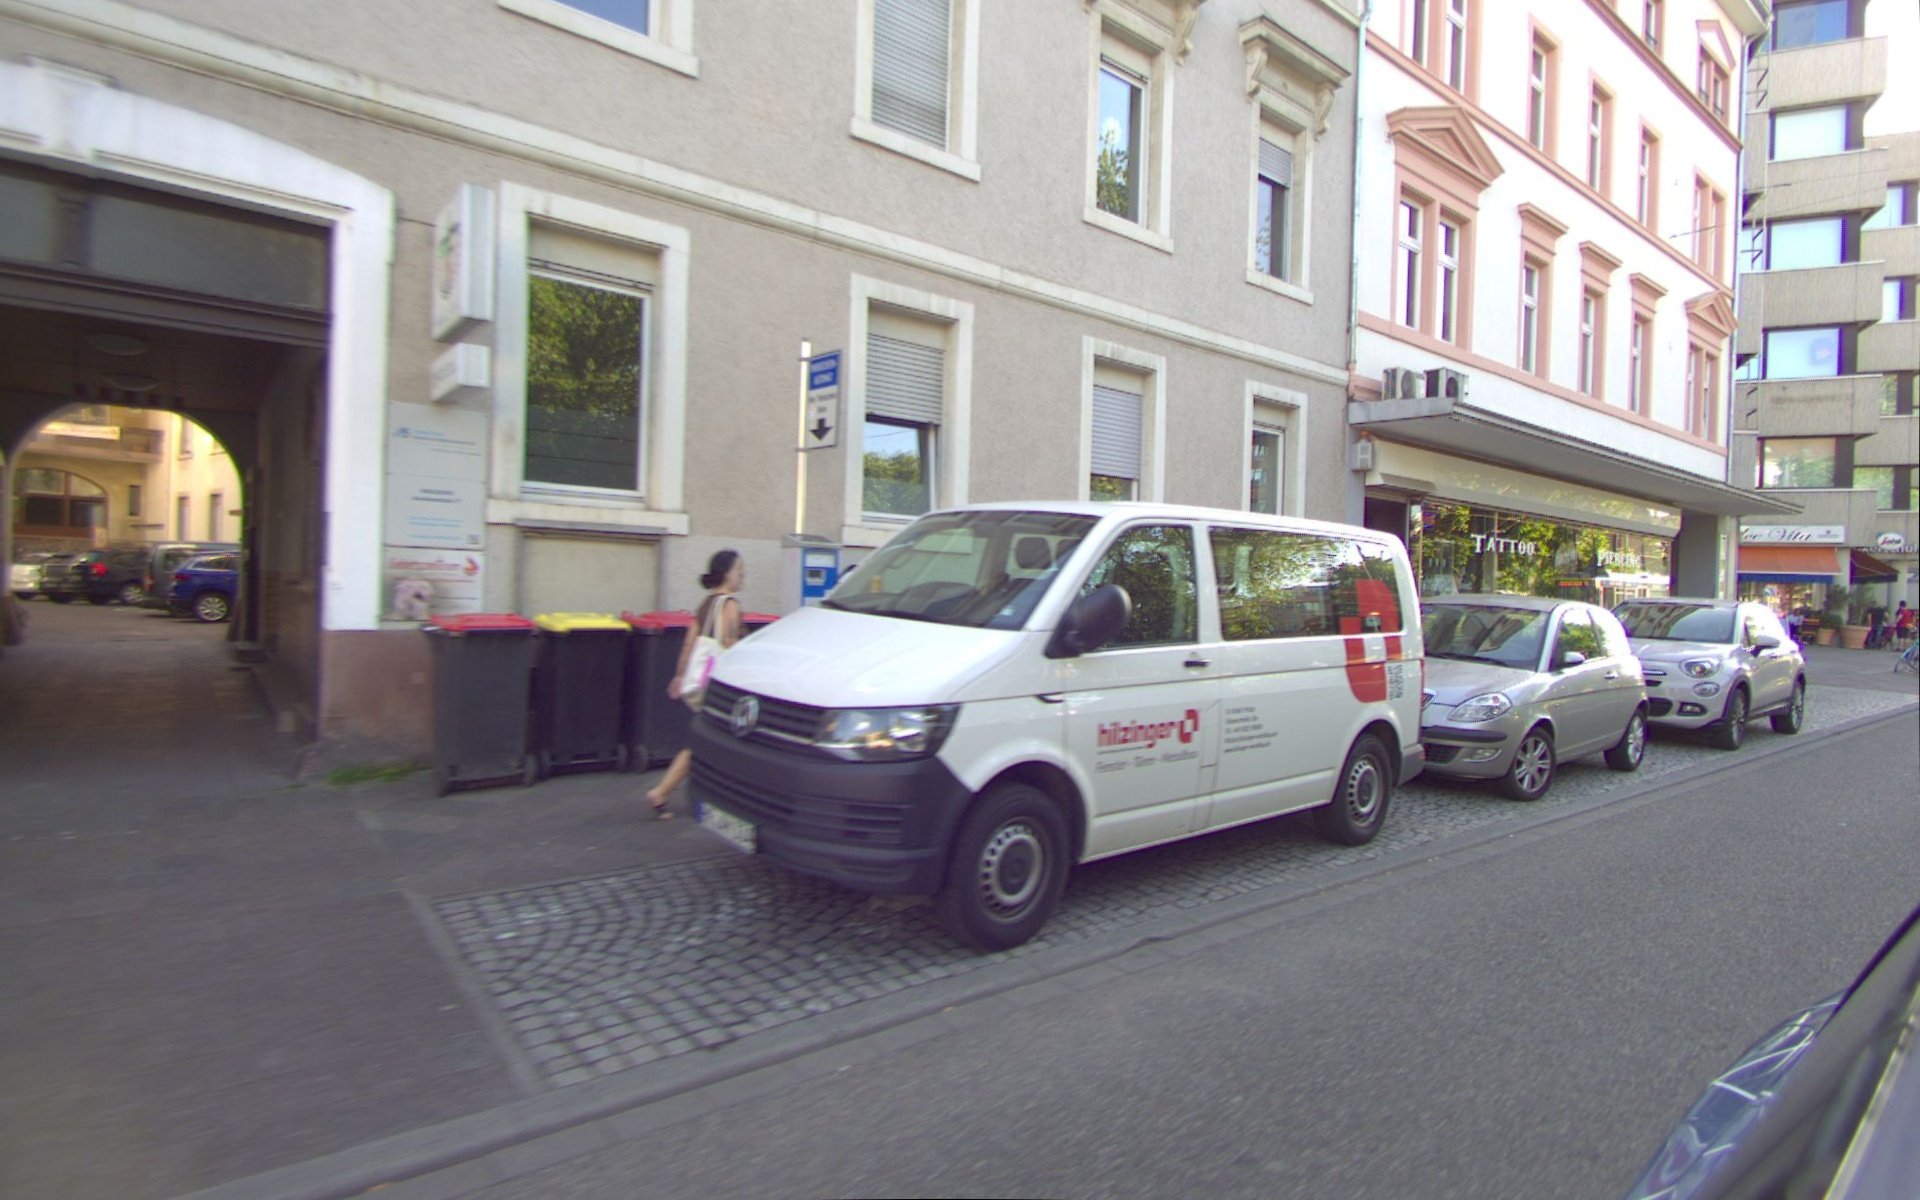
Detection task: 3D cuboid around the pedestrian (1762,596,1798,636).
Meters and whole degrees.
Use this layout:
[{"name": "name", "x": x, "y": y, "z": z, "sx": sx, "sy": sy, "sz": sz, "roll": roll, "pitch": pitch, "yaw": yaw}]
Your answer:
[{"name": "pedestrian", "x": 29.725, "y": 0.589, "z": 36.709, "sx": 0.836, "sy": 1.420, "sz": 0.823, "roll": 1, "pitch": -1, "yaw": 27}]

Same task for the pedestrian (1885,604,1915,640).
[{"name": "pedestrian", "x": 33.721, "y": 0.779, "z": 36.293, "sx": 0.613, "sy": 1.251, "sz": 0.632, "roll": 0, "pitch": 3, "yaw": -35}]

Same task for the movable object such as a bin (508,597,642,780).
[{"name": "movable object such as a bin", "x": -2.617, "y": 0.559, "z": 6.858, "sx": 0.648, "sy": 1.089, "sz": 0.797, "roll": 0, "pitch": 4, "yaw": -36}]

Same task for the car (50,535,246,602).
[{"name": "car", "x": -22.685, "y": -0.831, "z": 28.389, "sx": 1.988, "sy": 1.716, "sz": 3.947, "roll": 0, "pitch": 0, "yaw": 37}]

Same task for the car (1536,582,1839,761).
[{"name": "car", "x": 8.888, "y": 0.677, "z": 12.186, "sx": 4.871, "sy": 1.760, "sz": 1.749, "roll": -1, "pitch": 0, "yaw": -39}]

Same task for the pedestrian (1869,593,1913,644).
[{"name": "pedestrian", "x": 32.390, "y": 0.634, "z": 35.218, "sx": 0.835, "sy": 1.731, "sz": 0.714, "roll": 3, "pitch": 2, "yaw": 24}]

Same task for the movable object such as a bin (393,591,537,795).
[{"name": "movable object such as a bin", "x": -3.123, "y": 0.533, "z": 6.363, "sx": 0.686, "sy": 1.151, "sz": 0.841, "roll": 0, "pitch": 2, "yaw": -36}]

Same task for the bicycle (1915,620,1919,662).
[{"name": "bicycle", "x": 25.076, "y": 1.053, "z": 25.336, "sx": 0.336, "sy": 1.075, "sz": 1.688, "roll": 0, "pitch": 0, "yaw": -22}]

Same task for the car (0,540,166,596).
[{"name": "car", "x": -28.682, "y": -0.990, "z": 32.995, "sx": 1.981, "sy": 1.716, "sz": 3.962, "roll": 0, "pitch": 0, "yaw": 27}]

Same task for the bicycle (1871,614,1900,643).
[{"name": "bicycle", "x": 34.803, "y": 1.052, "z": 38.052, "sx": 1.614, "sy": 1.047, "sz": 0.564, "roll": 0, "pitch": 0, "yaw": -38}]

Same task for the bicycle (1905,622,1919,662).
[{"name": "bicycle", "x": 24.725, "y": 1.070, "z": 25.201, "sx": 0.419, "sy": 1.017, "sz": 1.712, "roll": 0, "pitch": 0, "yaw": -22}]

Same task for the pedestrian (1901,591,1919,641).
[{"name": "pedestrian", "x": 33.418, "y": 0.543, "z": 35.395, "sx": 0.684, "sy": 1.736, "sz": 0.585, "roll": 0, "pitch": 0, "yaw": -36}]

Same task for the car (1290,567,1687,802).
[{"name": "car", "x": 4.704, "y": 0.551, "z": 8.831, "sx": 3.688, "sy": 1.624, "sz": 1.704, "roll": -1, "pitch": 1, "yaw": -38}]

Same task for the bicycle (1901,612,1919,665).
[{"name": "bicycle", "x": 23.672, "y": 0.933, "z": 24.182, "sx": 0.645, "sy": 1.259, "sz": 1.630, "roll": 0, "pitch": 0, "yaw": -18}]

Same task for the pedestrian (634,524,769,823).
[{"name": "pedestrian", "x": -1.558, "y": 0.393, "z": 6.047, "sx": 0.450, "sy": 1.625, "sz": 0.752, "roll": 0, "pitch": 7, "yaw": -38}]

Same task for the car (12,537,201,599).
[{"name": "car", "x": -25.221, "y": -0.892, "z": 30.025, "sx": 1.987, "sy": 1.716, "sz": 3.949, "roll": 0, "pitch": 0, "yaw": 35}]

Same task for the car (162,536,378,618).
[{"name": "car", "x": -15.863, "y": -0.507, "z": 23.352, "sx": 3.930, "sy": 1.716, "sz": 1.997, "roll": -1, "pitch": 0, "yaw": -41}]

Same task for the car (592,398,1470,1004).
[{"name": "car", "x": 0.778, "y": 0.342, "z": 5.789, "sx": 5.026, "sy": 2.030, "sz": 1.998, "roll": 1, "pitch": 0, "yaw": -40}]

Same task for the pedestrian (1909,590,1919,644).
[{"name": "pedestrian", "x": 34.125, "y": 0.596, "z": 35.744, "sx": 0.599, "sy": 1.878, "sz": 0.673, "roll": 0, "pitch": 3, "yaw": -35}]

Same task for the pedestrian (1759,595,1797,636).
[{"name": "pedestrian", "x": 29.075, "y": 0.542, "z": 35.989, "sx": 0.834, "sy": 1.420, "sz": 0.747, "roll": 0, "pitch": -1, "yaw": 22}]

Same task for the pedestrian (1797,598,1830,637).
[{"name": "pedestrian", "x": 30.464, "y": 0.604, "z": 36.127, "sx": 0.840, "sy": 1.308, "sz": 0.819, "roll": 3, "pitch": 3, "yaw": 40}]

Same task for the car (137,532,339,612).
[{"name": "car", "x": -17.798, "y": -0.645, "z": 25.025, "sx": 3.930, "sy": 1.816, "sz": 1.997, "roll": -1, "pitch": 0, "yaw": -41}]

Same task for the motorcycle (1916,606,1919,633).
[{"name": "motorcycle", "x": 43.410, "y": 0.869, "z": 44.956, "sx": 2.006, "sy": 1.169, "sz": 0.768, "roll": 0, "pitch": 3, "yaw": -29}]

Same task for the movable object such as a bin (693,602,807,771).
[{"name": "movable object such as a bin", "x": -1.577, "y": 0.604, "z": 7.552, "sx": 0.568, "sy": 1.175, "sz": 0.771, "roll": 0, "pitch": 0, "yaw": -36}]
